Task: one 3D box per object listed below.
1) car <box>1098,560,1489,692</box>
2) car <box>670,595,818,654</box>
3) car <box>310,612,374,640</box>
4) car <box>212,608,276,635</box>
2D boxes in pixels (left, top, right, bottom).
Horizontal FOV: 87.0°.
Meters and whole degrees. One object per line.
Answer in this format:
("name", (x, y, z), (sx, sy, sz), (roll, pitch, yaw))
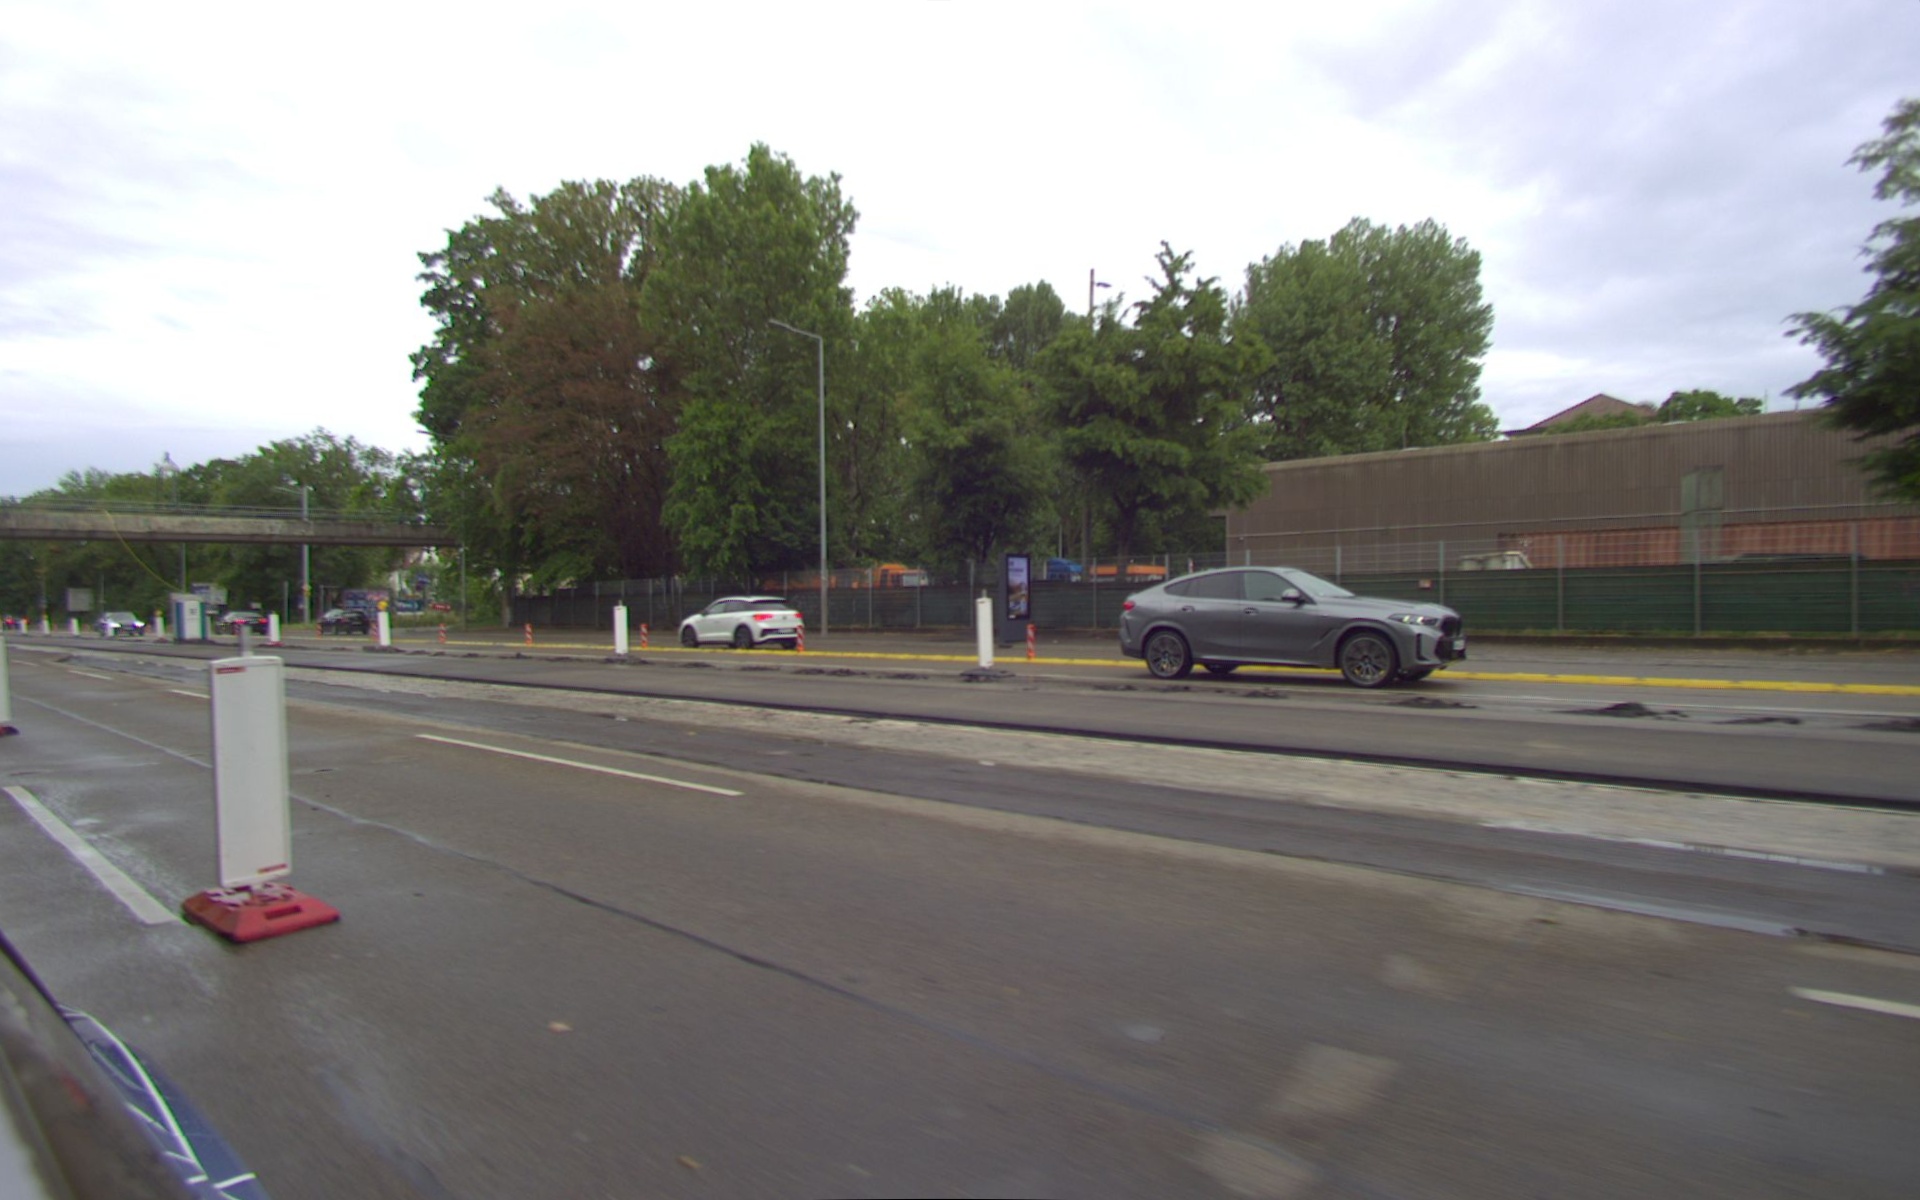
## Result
("car", (4.730, 0.320, 14.851), (5.053, 1.625, 2.055), (-1, 1, 41))
("car", (-6.205, 0.683, 28.866), (4.264, 1.524, 1.973), (-1, 0, 41))
("car", (-35.819, 1.490, 58.604), (4.303, 1.529, 1.973), (-1, 1, 41))
("car", (-43.780, 1.302, 61.828), (5.087, 1.524, 2.056), (-2, 0, 41))
